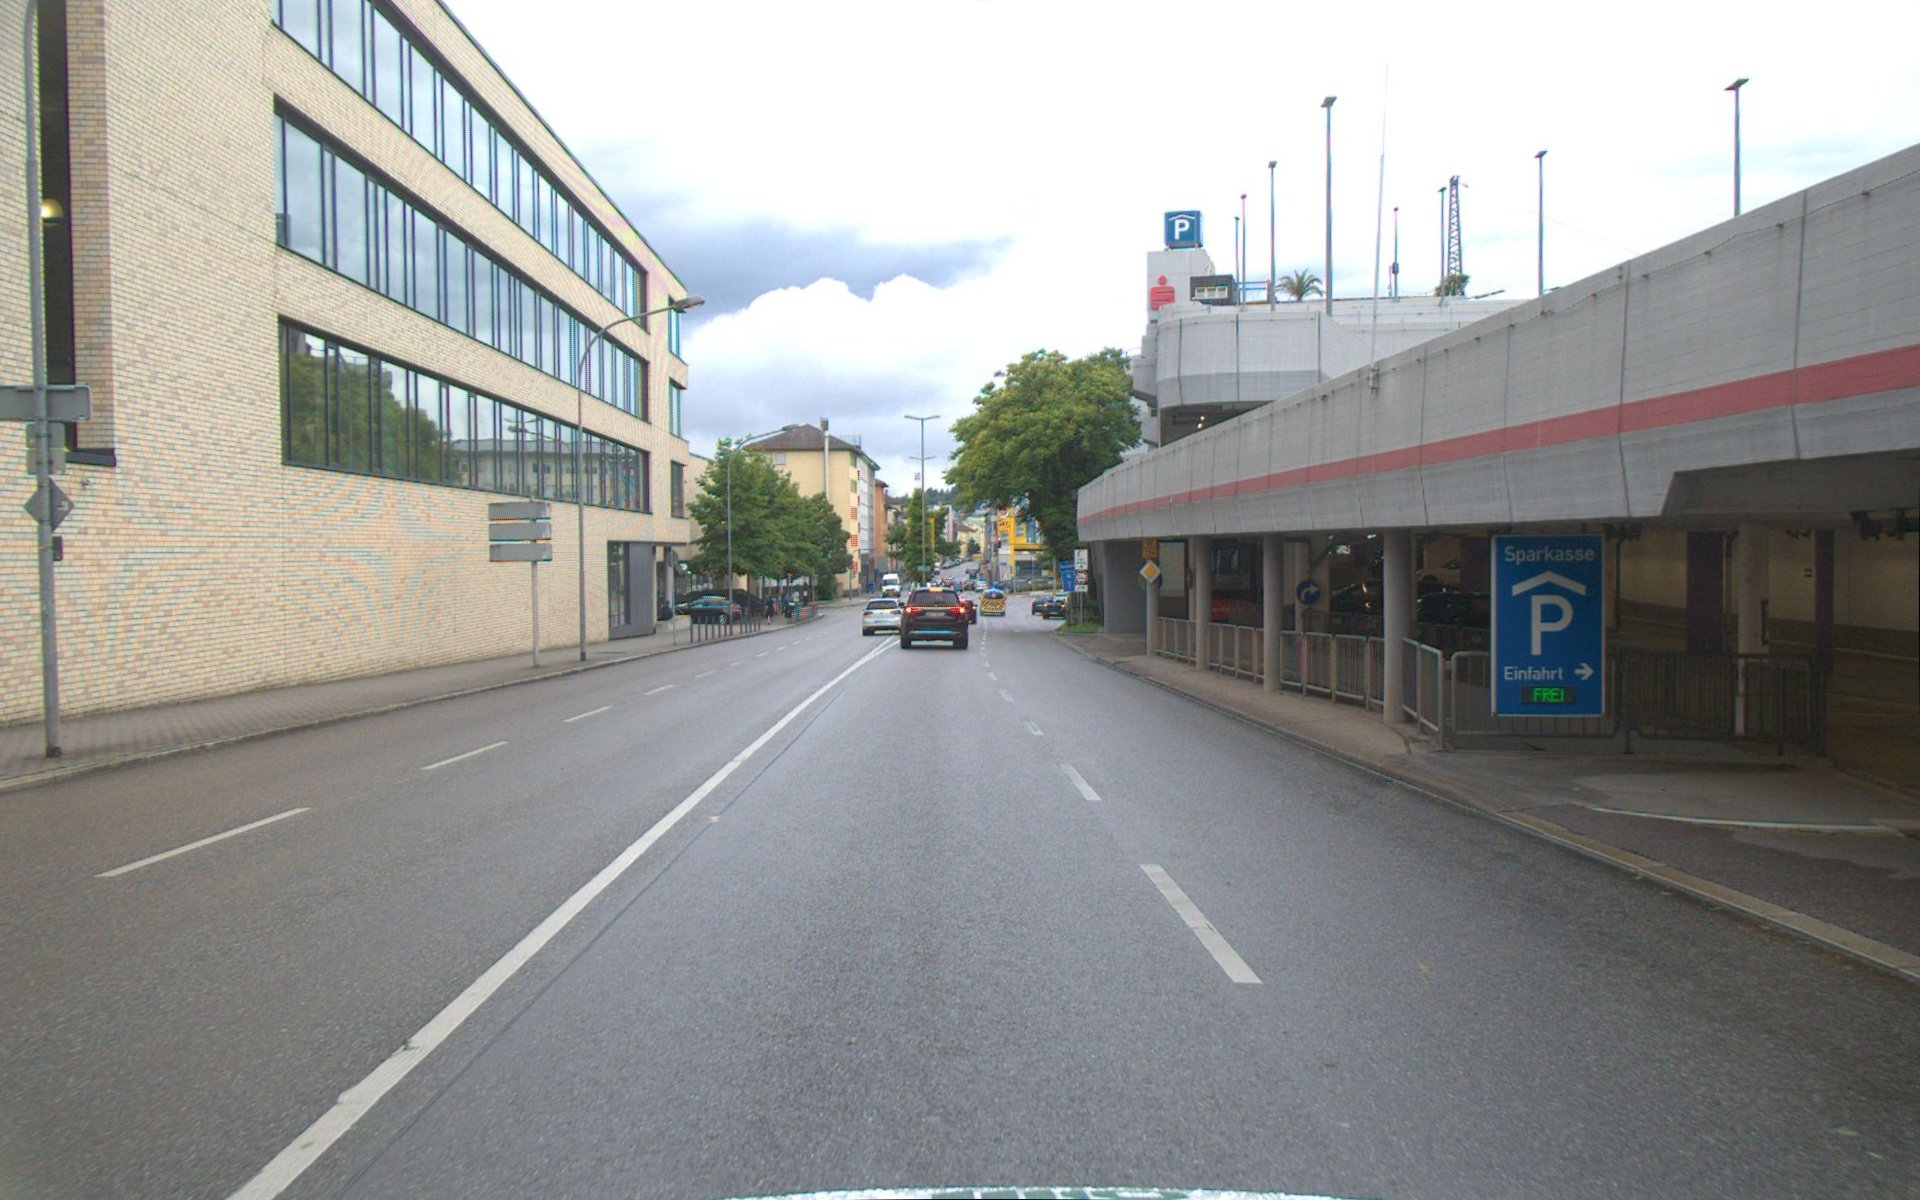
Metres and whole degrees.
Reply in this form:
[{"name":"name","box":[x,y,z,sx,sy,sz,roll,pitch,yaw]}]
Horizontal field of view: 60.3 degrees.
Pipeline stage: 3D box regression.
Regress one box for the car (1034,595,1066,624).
[{"name":"car","box":[6.443,0.669,118.394,1.953,2.049,3.999,1,0,-1]}]

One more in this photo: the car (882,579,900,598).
[{"name":"car","box":[-7.776,-1.286,186.798,1.953,1.908,5.140,1,-1,-1]}]

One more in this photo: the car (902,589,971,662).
[{"name":"car","box":[-0.708,0.775,49.901,1.953,2.049,3.999,1,-1,-1]}]

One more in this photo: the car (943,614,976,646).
[{"name":"car","box":[-0.044,1.693,94.572,1.669,1.746,3.441,1,-1,-3]}]

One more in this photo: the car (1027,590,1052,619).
[{"name":"car","box":[6.274,0.352,130.740,1.952,2.165,4.001,1,-1,3]}]

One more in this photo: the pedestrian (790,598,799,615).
[{"name":"pedestrian","box":[-14.967,0.593,149.822,0.697,1.487,0.598,1,-1,-1]}]

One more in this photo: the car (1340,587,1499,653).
[{"name":"car","box":[11.608,0.501,41.968,3.643,1.531,1.809,-2,0,8]}]

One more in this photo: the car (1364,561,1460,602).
[{"name":"car","box":[19.899,-0.809,72.921,3.902,1.669,2.001,1,-1,10]}]

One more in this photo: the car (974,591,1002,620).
[{"name":"car","box":[2.065,0.406,124.217,1.953,2.049,3.999,1,-1,-1]}]

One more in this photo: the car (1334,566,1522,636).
[{"name":"car","box":[12.030,0.047,42.788,4.478,1.669,1.823,1,-1,9]}]

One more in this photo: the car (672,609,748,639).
[{"name":"car","box":[-14.985,1.430,99.233,4.330,1.601,1.998,1,1,-5]}]

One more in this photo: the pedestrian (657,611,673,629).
[{"name":"pedestrian","box":[-13.867,0.939,77.761,0.585,0.800,0.760,1,-1,0]}]

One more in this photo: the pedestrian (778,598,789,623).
[{"name":"pedestrian","box":[-12.546,0.763,117.597,0.674,1.756,0.754,1,-3,0]}]

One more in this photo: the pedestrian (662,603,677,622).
[{"name":"pedestrian","box":[-13.820,0.600,78.597,0.574,0.859,0.727,0,-1,0]}]

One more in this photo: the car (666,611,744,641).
[{"name":"car","box":[-14.914,1.524,96.789,4.382,1.615,1.997,-1,0,-6]}]

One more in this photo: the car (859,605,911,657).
[{"name":"car","box":[-3.076,1.270,68.251,1.953,2.049,3.999,1,-1,-1]}]

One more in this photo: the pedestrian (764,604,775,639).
[{"name":"pedestrian","box":[-11.365,1.300,98.667,0.576,2.049,0.749,1,-1,-1]}]

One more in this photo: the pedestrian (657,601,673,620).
[{"name":"pedestrian","box":[-14.562,0.517,81.547,0.667,0.901,0.524,1,-1,0]}]
